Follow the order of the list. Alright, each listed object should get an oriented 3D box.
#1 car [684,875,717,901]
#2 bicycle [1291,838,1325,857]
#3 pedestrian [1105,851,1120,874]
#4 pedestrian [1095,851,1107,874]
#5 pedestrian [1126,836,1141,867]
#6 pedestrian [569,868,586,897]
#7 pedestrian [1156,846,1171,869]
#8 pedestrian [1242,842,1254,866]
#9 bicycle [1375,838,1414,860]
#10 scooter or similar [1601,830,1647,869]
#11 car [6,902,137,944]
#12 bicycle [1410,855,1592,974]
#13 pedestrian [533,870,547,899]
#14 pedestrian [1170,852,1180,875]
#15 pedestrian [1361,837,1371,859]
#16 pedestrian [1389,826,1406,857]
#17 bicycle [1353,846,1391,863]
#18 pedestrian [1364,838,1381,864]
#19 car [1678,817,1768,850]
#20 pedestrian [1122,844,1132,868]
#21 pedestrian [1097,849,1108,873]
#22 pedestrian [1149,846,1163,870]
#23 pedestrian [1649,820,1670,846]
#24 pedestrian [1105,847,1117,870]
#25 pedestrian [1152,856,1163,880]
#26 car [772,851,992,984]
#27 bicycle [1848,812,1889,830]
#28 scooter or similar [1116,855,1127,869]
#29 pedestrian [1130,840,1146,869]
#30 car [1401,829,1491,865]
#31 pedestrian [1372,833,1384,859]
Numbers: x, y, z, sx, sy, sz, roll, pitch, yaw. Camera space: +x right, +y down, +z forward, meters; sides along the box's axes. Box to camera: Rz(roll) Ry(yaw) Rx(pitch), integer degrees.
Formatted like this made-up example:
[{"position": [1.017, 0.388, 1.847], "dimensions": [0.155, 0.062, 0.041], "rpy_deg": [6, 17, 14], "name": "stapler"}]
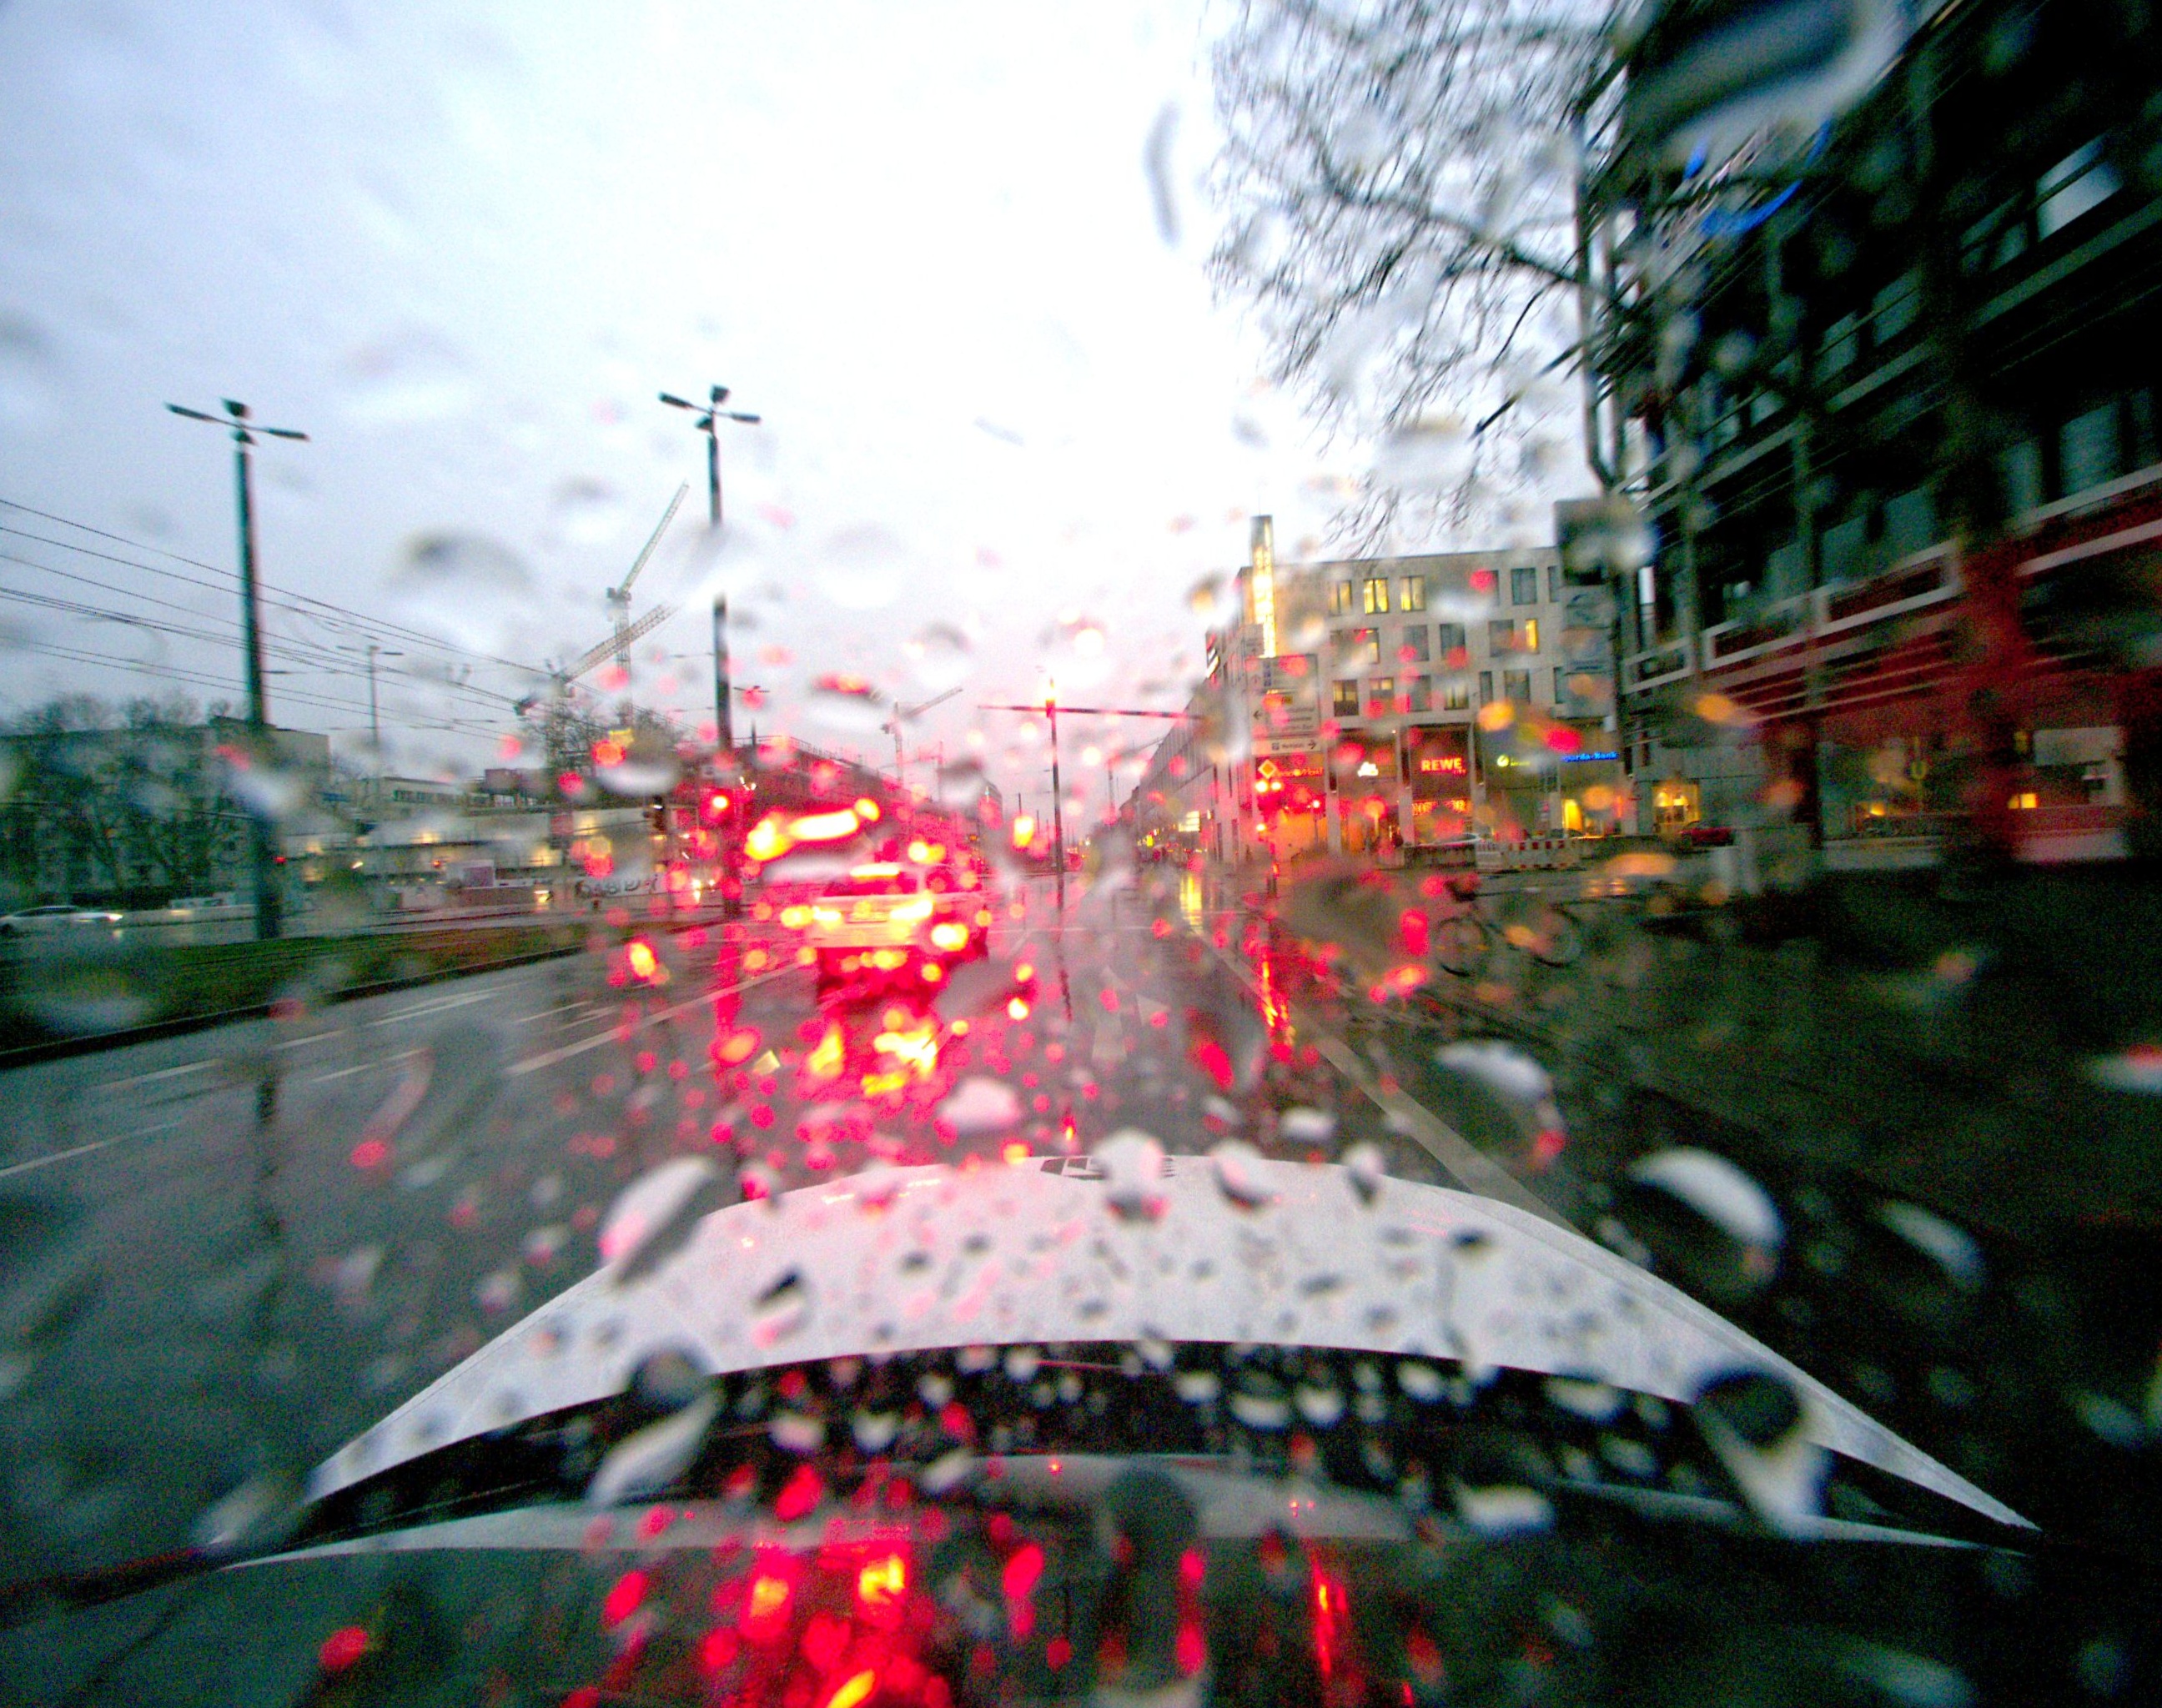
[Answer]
[{"position": [-32.101, 2.821, 68.815], "dimensions": [1.759, 2.013, 3.979], "rpy_deg": [-3, 0, -15], "name": "car"}, {"position": [17.204, -0.500, 61.768], "dimensions": [2.419, 1.329, 0.634], "rpy_deg": [-3, 0, -2], "name": "bicycle"}, {"position": [2.216, 0.606, 57.778], "dimensions": [0.808, 1.619, 0.542], "rpy_deg": [-3, 0, 40], "name": "pedestrian"}, {"position": [1.445, 0.639, 58.781], "dimensions": [0.703, 1.619, 0.681], "rpy_deg": [-3, 0, 4], "name": "pedestrian"}, {"position": [3.655, -0.171, 56.425], "dimensions": [0.691, 2.087, 0.606], "rpy_deg": [-3, 0, -37], "name": "pedestrian"}, {"position": [-36.862, 2.077, 59.580], "dimensions": [0.791, 2.014, 0.746], "rpy_deg": [-3, -4, -6], "name": "pedestrian"}, {"position": [6.111, 0.267, 60.039], "dimensions": [0.844, 1.688, 0.674], "rpy_deg": [-3, 0, -13], "name": "pedestrian"}, {"position": [12.547, -0.003, 61.283], "dimensions": [0.700, 1.760, 0.653], "rpy_deg": [-3, 0, 3], "name": "pedestrian"}, {"position": [16.719, -0.262, 43.461], "dimensions": [1.830, 1.093, 0.620], "rpy_deg": [-3, 0, 18], "name": "bicycle"}, {"position": [16.639, -0.138, 24.982], "dimensions": [0.603, 1.130, 1.236], "rpy_deg": [-3, 0, 3], "name": "scooter or similar"}, {"position": [-50.573, 3.443, 40.867], "dimensions": [3.974, 1.684, 2.000], "rpy_deg": [-3, 0, -1], "name": "car"}, {"position": [4.661, 0.652, 9.081], "dimensions": [1.746, 1.148, 0.435], "rpy_deg": [-5, 0, -2], "name": "bicycle"}, {"position": [-38.583, 2.189, 58.088], "dimensions": [0.507, 2.014, 0.638], "rpy_deg": [-5, -3, -7], "name": "pedestrian"}, {"position": [7.103, 0.716, 61.714], "dimensions": [0.615, 1.760, 0.482], "rpy_deg": [-3, 0, 3], "name": "pedestrian"}, {"position": [22.603, -0.496, 64.525], "dimensions": [0.530, 1.717, 0.505], "rpy_deg": [-3, 0, 40], "name": "pedestrian"}, {"position": [16.871, -0.675, 43.407], "dimensions": [0.774, 1.595, 0.616], "rpy_deg": [-3, 0, 18], "name": "pedestrian"}, {"position": [17.826, 0.018, 49.942], "dimensions": [2.120, 0.991, 0.542], "rpy_deg": [-1, -1, 1], "name": "bicycle"}, {"position": [17.866, -0.176, 49.967], "dimensions": [0.811, 1.570, 0.536], "rpy_deg": [-3, 0, 2], "name": "pedestrian"}, {"position": [35.531, -1.101, 45.153], "dimensions": [3.556, 1.582, 1.677], "rpy_deg": [-3, -1, 1], "name": "car"}, {"position": [3.307, 0.144, 58.741], "dimensions": [0.617, 1.746, 0.612], "rpy_deg": [-3, 0, -2], "name": "pedestrian"}, {"position": [1.518, 0.491, 57.257], "dimensions": [0.704, 1.619, 0.613], "rpy_deg": [-3, 0, 0], "name": "pedestrian"}, {"position": [5.428, 0.318, 59.072], "dimensions": [0.828, 1.679, 0.619], "rpy_deg": [-3, 0, -1], "name": "pedestrian"}, {"position": [37.716, -1.361, 53.085], "dimensions": [0.791, 1.631, 0.710], "rpy_deg": [-1, -1, 3], "name": "pedestrian"}, {"position": [2.227, 0.329, 60.059], "dimensions": [0.737, 1.667, 0.401], "rpy_deg": [-3, 0, 7], "name": "pedestrian"}, {"position": [5.691, 1.049, 60.809], "dimensions": [0.699, 1.760, 0.668], "rpy_deg": [-3, 0, 3], "name": "pedestrian"}, {"position": [-2.681, 0.773, 12.337], "dimensions": [1.902, 1.520, 4.926], "rpy_deg": [-3, 0, 2], "name": "car"}, {"position": [49.866, -2.072, 51.594], "dimensions": [0.613, 1.033, 2.139], "rpy_deg": [-3, 0, 5], "name": "bicycle"}, {"position": [2.980, 0.611, 59.971], "dimensions": [0.737, 0.993, 0.401], "rpy_deg": [-3, 0, 7], "name": "scooter or similar"}, {"position": [4.029, 0.044, 57.362], "dimensions": [0.781, 2.013, 0.606], "rpy_deg": [-3, 0, -35], "name": "pedestrian"}, {"position": [20.509, -0.395, 45.904], "dimensions": [4.281, 1.761, 1.710], "rpy_deg": [-3, 0, 6], "name": "car"}, {"position": [19.556, -0.518, 53.628], "dimensions": [0.530, 1.685, 0.552], "rpy_deg": [-3, 0, 40], "name": "pedestrian"}]
